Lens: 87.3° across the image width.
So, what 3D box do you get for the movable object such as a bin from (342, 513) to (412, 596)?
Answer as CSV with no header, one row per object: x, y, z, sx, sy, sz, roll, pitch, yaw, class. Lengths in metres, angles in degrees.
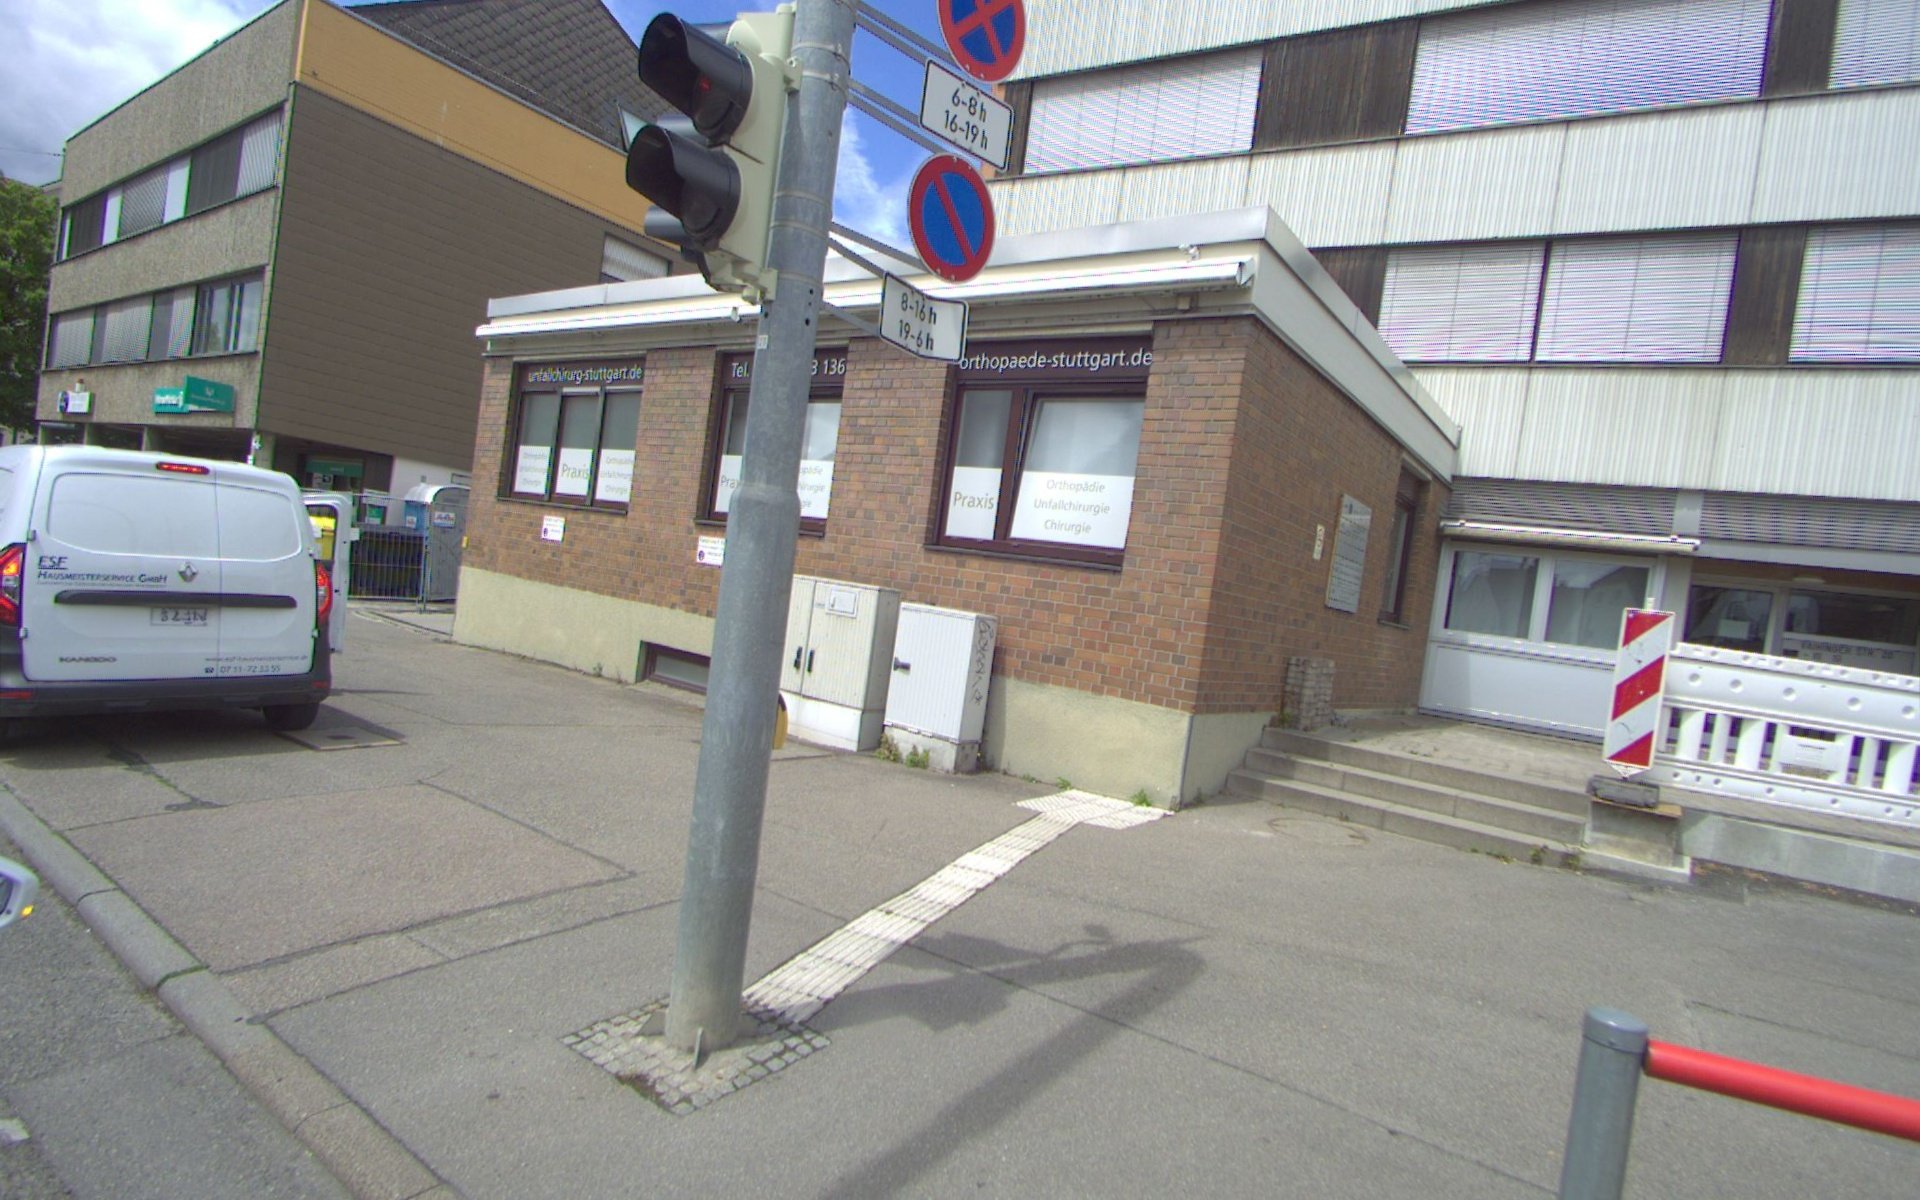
-11.404,-0.895,19.679,1.003,1.459,0.778,10,4,40,movable object such as a bin

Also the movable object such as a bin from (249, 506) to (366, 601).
-12.161,-0.854,18.777,1.060,1.512,1.480,10,3,40,movable object such as a bin

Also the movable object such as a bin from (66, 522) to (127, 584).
-15.542,-0.847,18.123,0.596,1.040,0.674,5,2,-24,movable object such as a bin

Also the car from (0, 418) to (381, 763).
-6.250,-0.216,7.343,4.423,1.818,1.908,7,3,38,car
